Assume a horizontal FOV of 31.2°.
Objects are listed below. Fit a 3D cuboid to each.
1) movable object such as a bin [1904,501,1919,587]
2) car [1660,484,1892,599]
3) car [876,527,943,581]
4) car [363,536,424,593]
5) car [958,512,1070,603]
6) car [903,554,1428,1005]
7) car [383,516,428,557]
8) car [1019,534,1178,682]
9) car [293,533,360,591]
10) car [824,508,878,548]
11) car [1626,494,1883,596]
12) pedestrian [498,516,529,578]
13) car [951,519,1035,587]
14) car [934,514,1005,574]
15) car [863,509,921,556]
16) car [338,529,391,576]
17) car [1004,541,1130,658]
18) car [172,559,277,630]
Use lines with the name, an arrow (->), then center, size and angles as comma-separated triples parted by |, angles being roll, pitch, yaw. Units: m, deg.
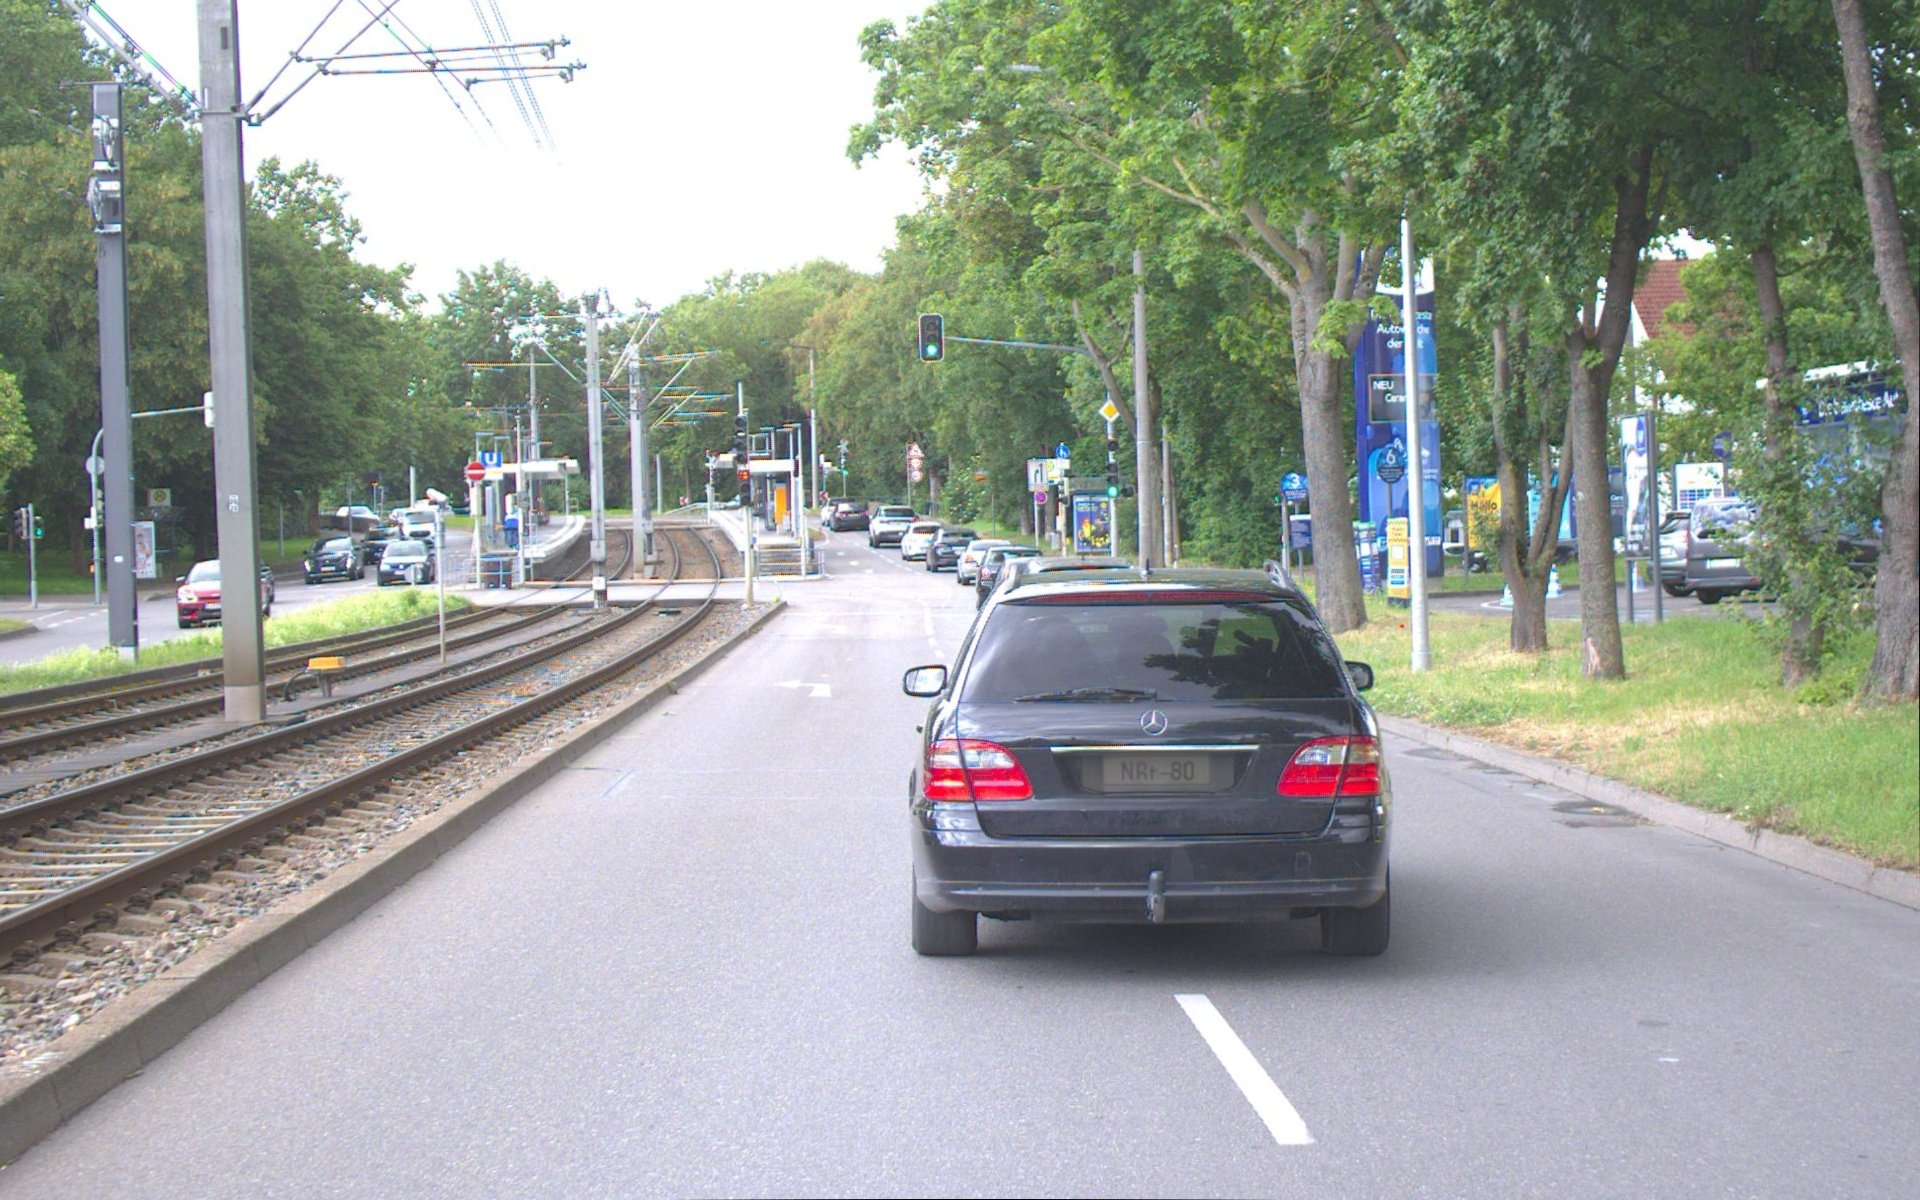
movable object such as a bin -> 16.954, -0.982, 58.712 | 1.158, 1.469, 1.387 | -2, 1, -5
car -> 13.994, -1.019, 58.826 | 4.373, 1.815, 1.750 | -3, 1, -44
car -> -1.948, -1.750, 131.855 | 1.993, 2.007, 4.001 | 1, 1, -9
car -> -18.974, -1.179, 115.299 | 1.696, 1.854, 4.001 | 1, 1, -5
car -> 1.152, -0.918, 75.223 | 1.993, 1.911, 4.001 | 1, 1, -5
car -> 0.740, 0.597, 13.812 | 1.782, 1.520, 4.000 | 1, 1, 1
car -> -28.308, -3.226, 175.657 | 1.993, 2.007, 4.108 | -2, 1, -6
car -> 1.599, 0.071, 40.840 | 1.782, 1.642, 4.000 | 1, 1, 1
car -> -23.043, -1.388, 125.227 | 1.993, 2.007, 4.248 | -2, 1, -6
car -> -5.618, -3.673, 176.476 | 1.993, 2.007, 4.001 | 1, 1, -13
car -> 14.504, -1.016, 62.809 | 4.198, 1.691, 1.841 | -3, 2, -19
pedestrian -> -15.634, -1.862, 120.469 | 0.969, 2.178, 0.976 | -1, 1, -3
car -> 0.924, -1.332, 98.168 | 1.993, 1.886, 4.001 | 1, 1, -5
car -> 0.310, -1.858, 115.382 | 1.993, 1.960, 4.001 | 1, 1, -5
car -> -2.978, -2.924, 150.230 | 1.993, 2.007, 4.001 | 1, 1, -9
car -> -26.473, -2.094, 152.971 | 1.993, 2.007, 4.108 | -2, 1, -6
car -> 1.559, -0.024, 51.050 | 1.782, 1.642, 4.000 | 1, 1, 1
car -> -17.535, -0.146, 82.152 | 1.783, 1.576, 4.483 | -3, 1, -4
